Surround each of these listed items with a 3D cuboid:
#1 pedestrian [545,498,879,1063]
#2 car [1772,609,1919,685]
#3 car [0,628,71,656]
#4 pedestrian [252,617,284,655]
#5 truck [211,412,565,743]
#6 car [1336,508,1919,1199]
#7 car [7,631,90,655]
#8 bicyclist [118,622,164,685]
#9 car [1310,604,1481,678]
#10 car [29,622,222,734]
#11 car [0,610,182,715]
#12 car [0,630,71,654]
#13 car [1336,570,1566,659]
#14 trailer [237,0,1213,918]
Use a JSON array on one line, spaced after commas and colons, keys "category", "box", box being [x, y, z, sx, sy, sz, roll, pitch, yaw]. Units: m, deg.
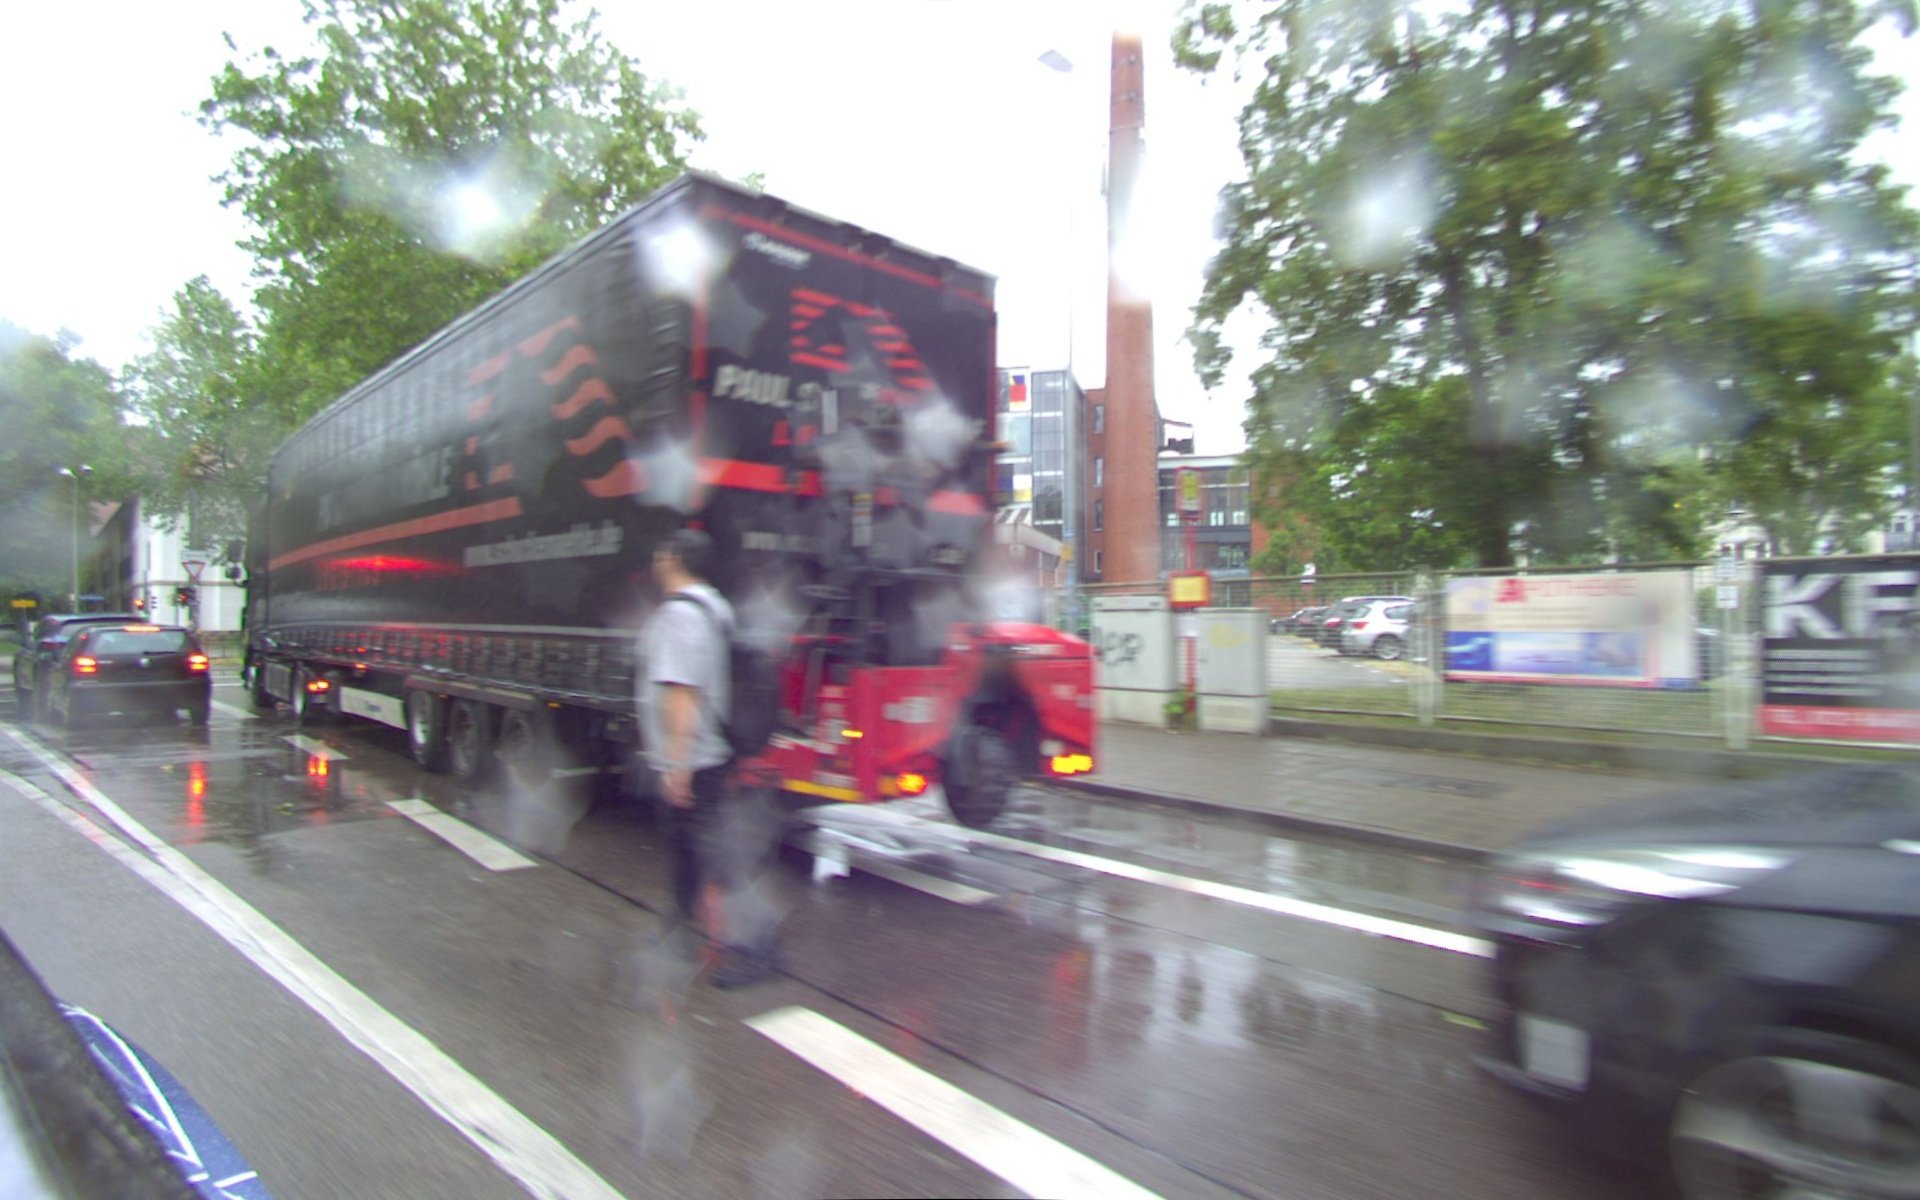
[{"category": "pedestrian", "box": [-0.978, 0.611, 4.000, 0.991, 1.857, 0.860, -2, -3, 40]}, {"category": "car", "box": [18.270, 0.866, 19.081, 4.269, 1.389, 1.615, -1, -2, 16]}, {"category": "car", "box": [-66.782, 3.002, 72.446, 4.600, 1.888, 2.036, 2, -3, -43]}, {"category": "pedestrian", "box": [-31.107, 1.622, 45.489, 0.842, 1.701, 0.855, -1, -3, 19]}, {"category": "truck", "box": [-9.451, -0.176, 16.294, 3.409, 4.109, 6.980, 0, -2, -43]}, {"category": "car", "box": [3.321, 0.661, 1.602, 1.845, 1.632, 4.808, 1, -1, -42]}, {"category": "car", "box": [-59.779, 2.809, 66.405, 1.797, 1.364, 3.943, -3, -2, 43]}, {"category": "bicyclist", "box": [-19.635, 1.282, 24.258, 1.008, 1.472, 0.574, -2, -2, 34]}, {"category": "car", "box": [11.617, 1.117, 27.297, 3.967, 1.806, 1.988, -2, -2, 18]}, {"category": "car", "box": [-12.192, 1.057, 14.692, 4.100, 1.384, 1.679, -3, -3, 43]}, {"category": "car", "box": [-16.872, 1.182, 19.471, 4.926, 1.695, 2.052, -4, -1, 41]}, {"category": "car", "box": [-74.221, 3.344, 81.072, 4.377, 1.914, 2.035, 2, -3, -45]}, {"category": "car", "box": [11.855, 0.389, 24.771, 4.629, 2.029, 1.992, -1, -2, 12]}, {"category": "trailer", "box": [-4.688, -0.401, 11.160, 3.401, 4.080, 15.064, 1, -3, -43]}]
